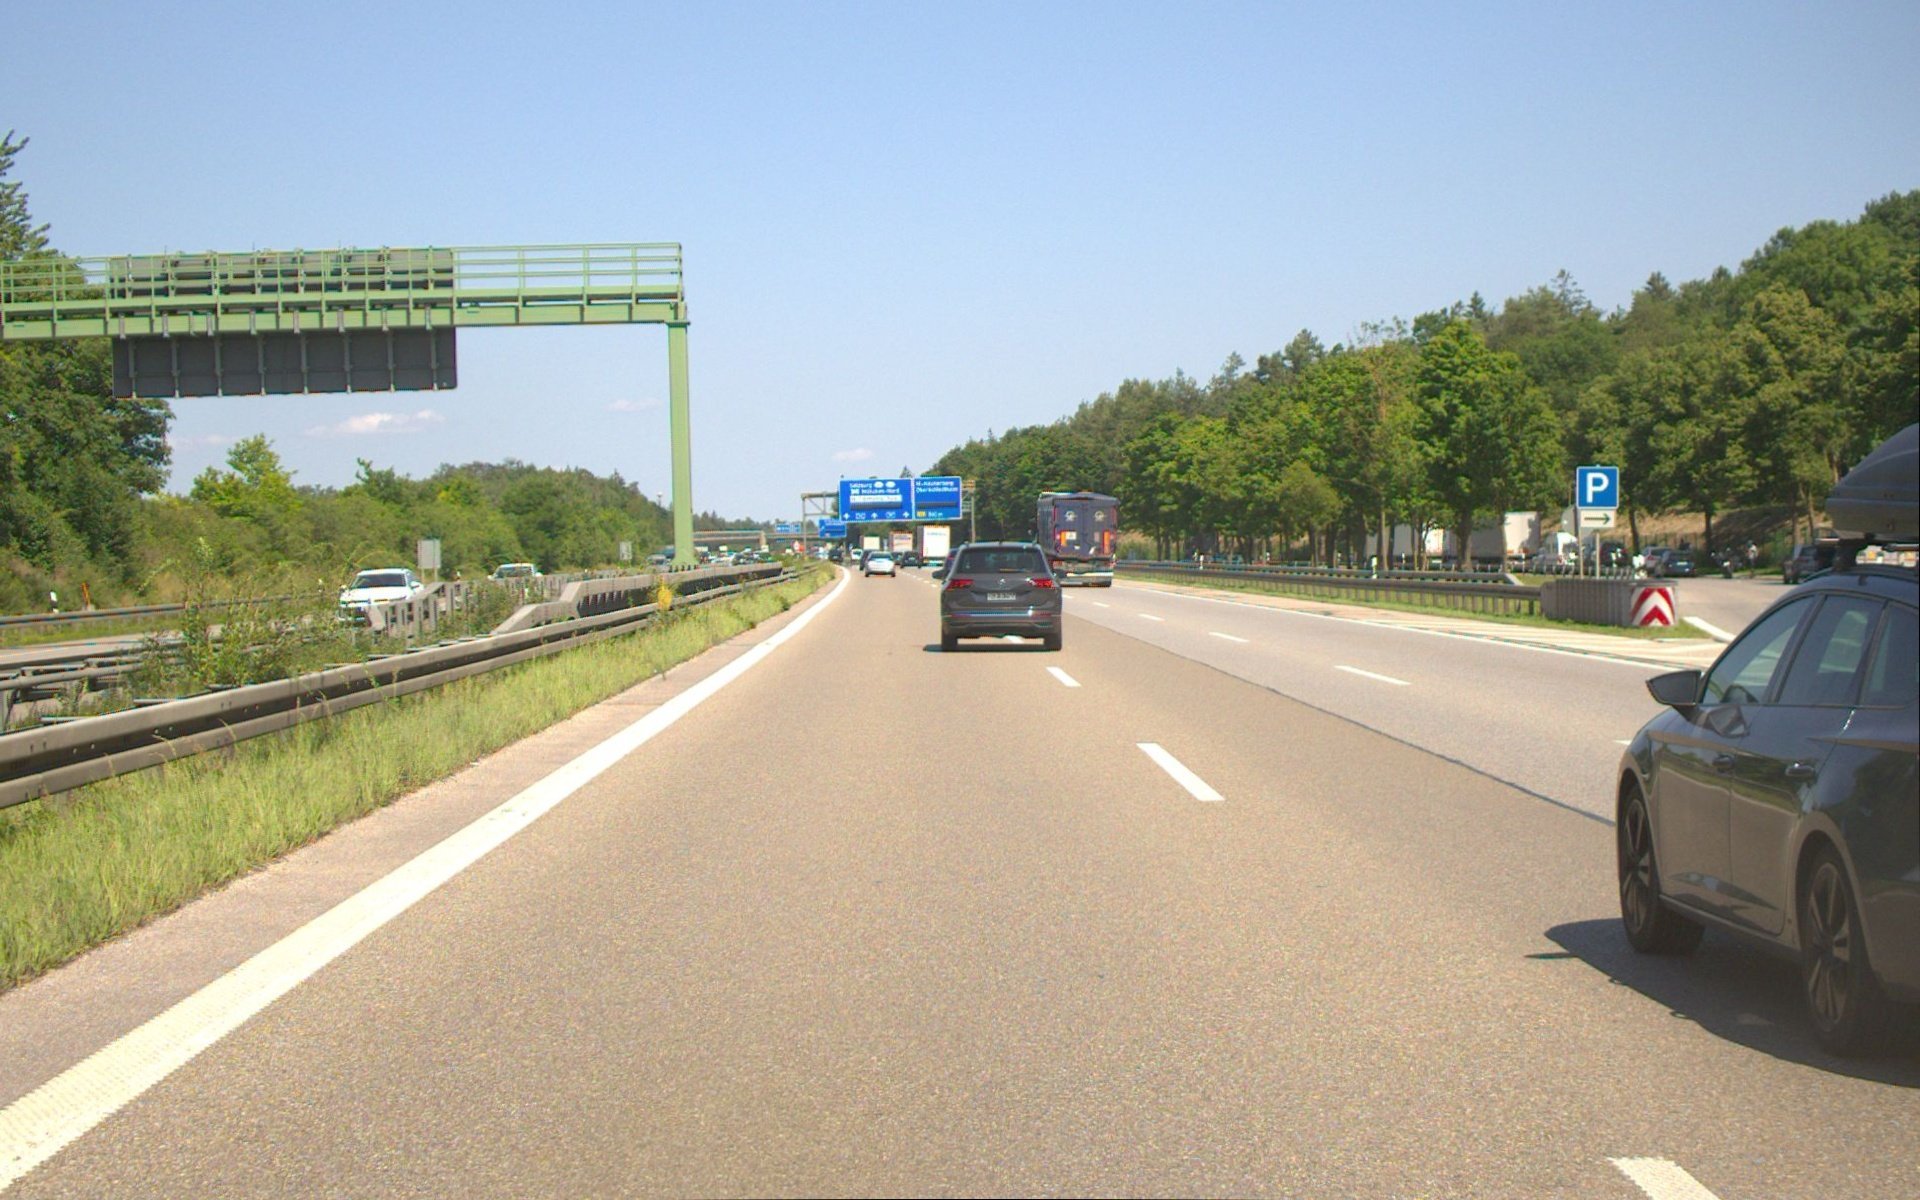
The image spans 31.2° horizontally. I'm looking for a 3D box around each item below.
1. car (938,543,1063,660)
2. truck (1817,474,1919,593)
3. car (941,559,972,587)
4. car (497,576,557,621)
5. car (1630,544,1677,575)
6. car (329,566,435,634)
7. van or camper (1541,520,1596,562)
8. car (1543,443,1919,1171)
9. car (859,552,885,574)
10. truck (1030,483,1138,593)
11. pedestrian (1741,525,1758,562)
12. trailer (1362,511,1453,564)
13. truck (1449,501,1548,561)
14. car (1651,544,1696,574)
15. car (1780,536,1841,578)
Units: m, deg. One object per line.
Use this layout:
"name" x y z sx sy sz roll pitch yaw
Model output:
"car" 0.646 -0.017 51.923 1.799 1.663 4.258 1 1 2
"truck" 31.857 -2.333 119.432 3.287 3.933 9.347 -1 1 10
"car" -0.186 -1.392 175.524 1.471 1.393 3.410 2 1 -1
"car" -15.547 -0.065 123.490 1.666 1.459 3.882 -3 1 -1
"car" 37.898 -2.212 187.958 1.656 1.670 4.652 -1 1 0
"car" -15.080 -0.016 89.912 1.878 1.605 5.310 -3 1 -1
"van or camper" 37.236 -3.617 210.659 2.203 2.522 5.876 -1 1 -1
"car" 3.219 0.458 11.212 1.665 1.870 4.828 -2 1 -1
"car" -5.069 -2.134 198.278 1.471 1.223 3.410 -1 1 -1
"truck" 5.134 -2.612 145.607 3.780 4.407 14.052 0 1 -1
"pedestrian" 38.819 -2.787 169.095 0.798 1.776 0.642 -1 1 12
"trailer" 32.803 -4.545 252.537 2.857 3.783 14.193 0 1 -8
"truck" 36.154 -4.585 231.591 2.995 3.917 14.463 -1 1 -6
"car" 37.634 -2.174 181.423 1.994 1.568 3.999 -1 1 7
"car" 35.344 -1.810 142.992 1.994 1.645 4.317 -1 1 8
